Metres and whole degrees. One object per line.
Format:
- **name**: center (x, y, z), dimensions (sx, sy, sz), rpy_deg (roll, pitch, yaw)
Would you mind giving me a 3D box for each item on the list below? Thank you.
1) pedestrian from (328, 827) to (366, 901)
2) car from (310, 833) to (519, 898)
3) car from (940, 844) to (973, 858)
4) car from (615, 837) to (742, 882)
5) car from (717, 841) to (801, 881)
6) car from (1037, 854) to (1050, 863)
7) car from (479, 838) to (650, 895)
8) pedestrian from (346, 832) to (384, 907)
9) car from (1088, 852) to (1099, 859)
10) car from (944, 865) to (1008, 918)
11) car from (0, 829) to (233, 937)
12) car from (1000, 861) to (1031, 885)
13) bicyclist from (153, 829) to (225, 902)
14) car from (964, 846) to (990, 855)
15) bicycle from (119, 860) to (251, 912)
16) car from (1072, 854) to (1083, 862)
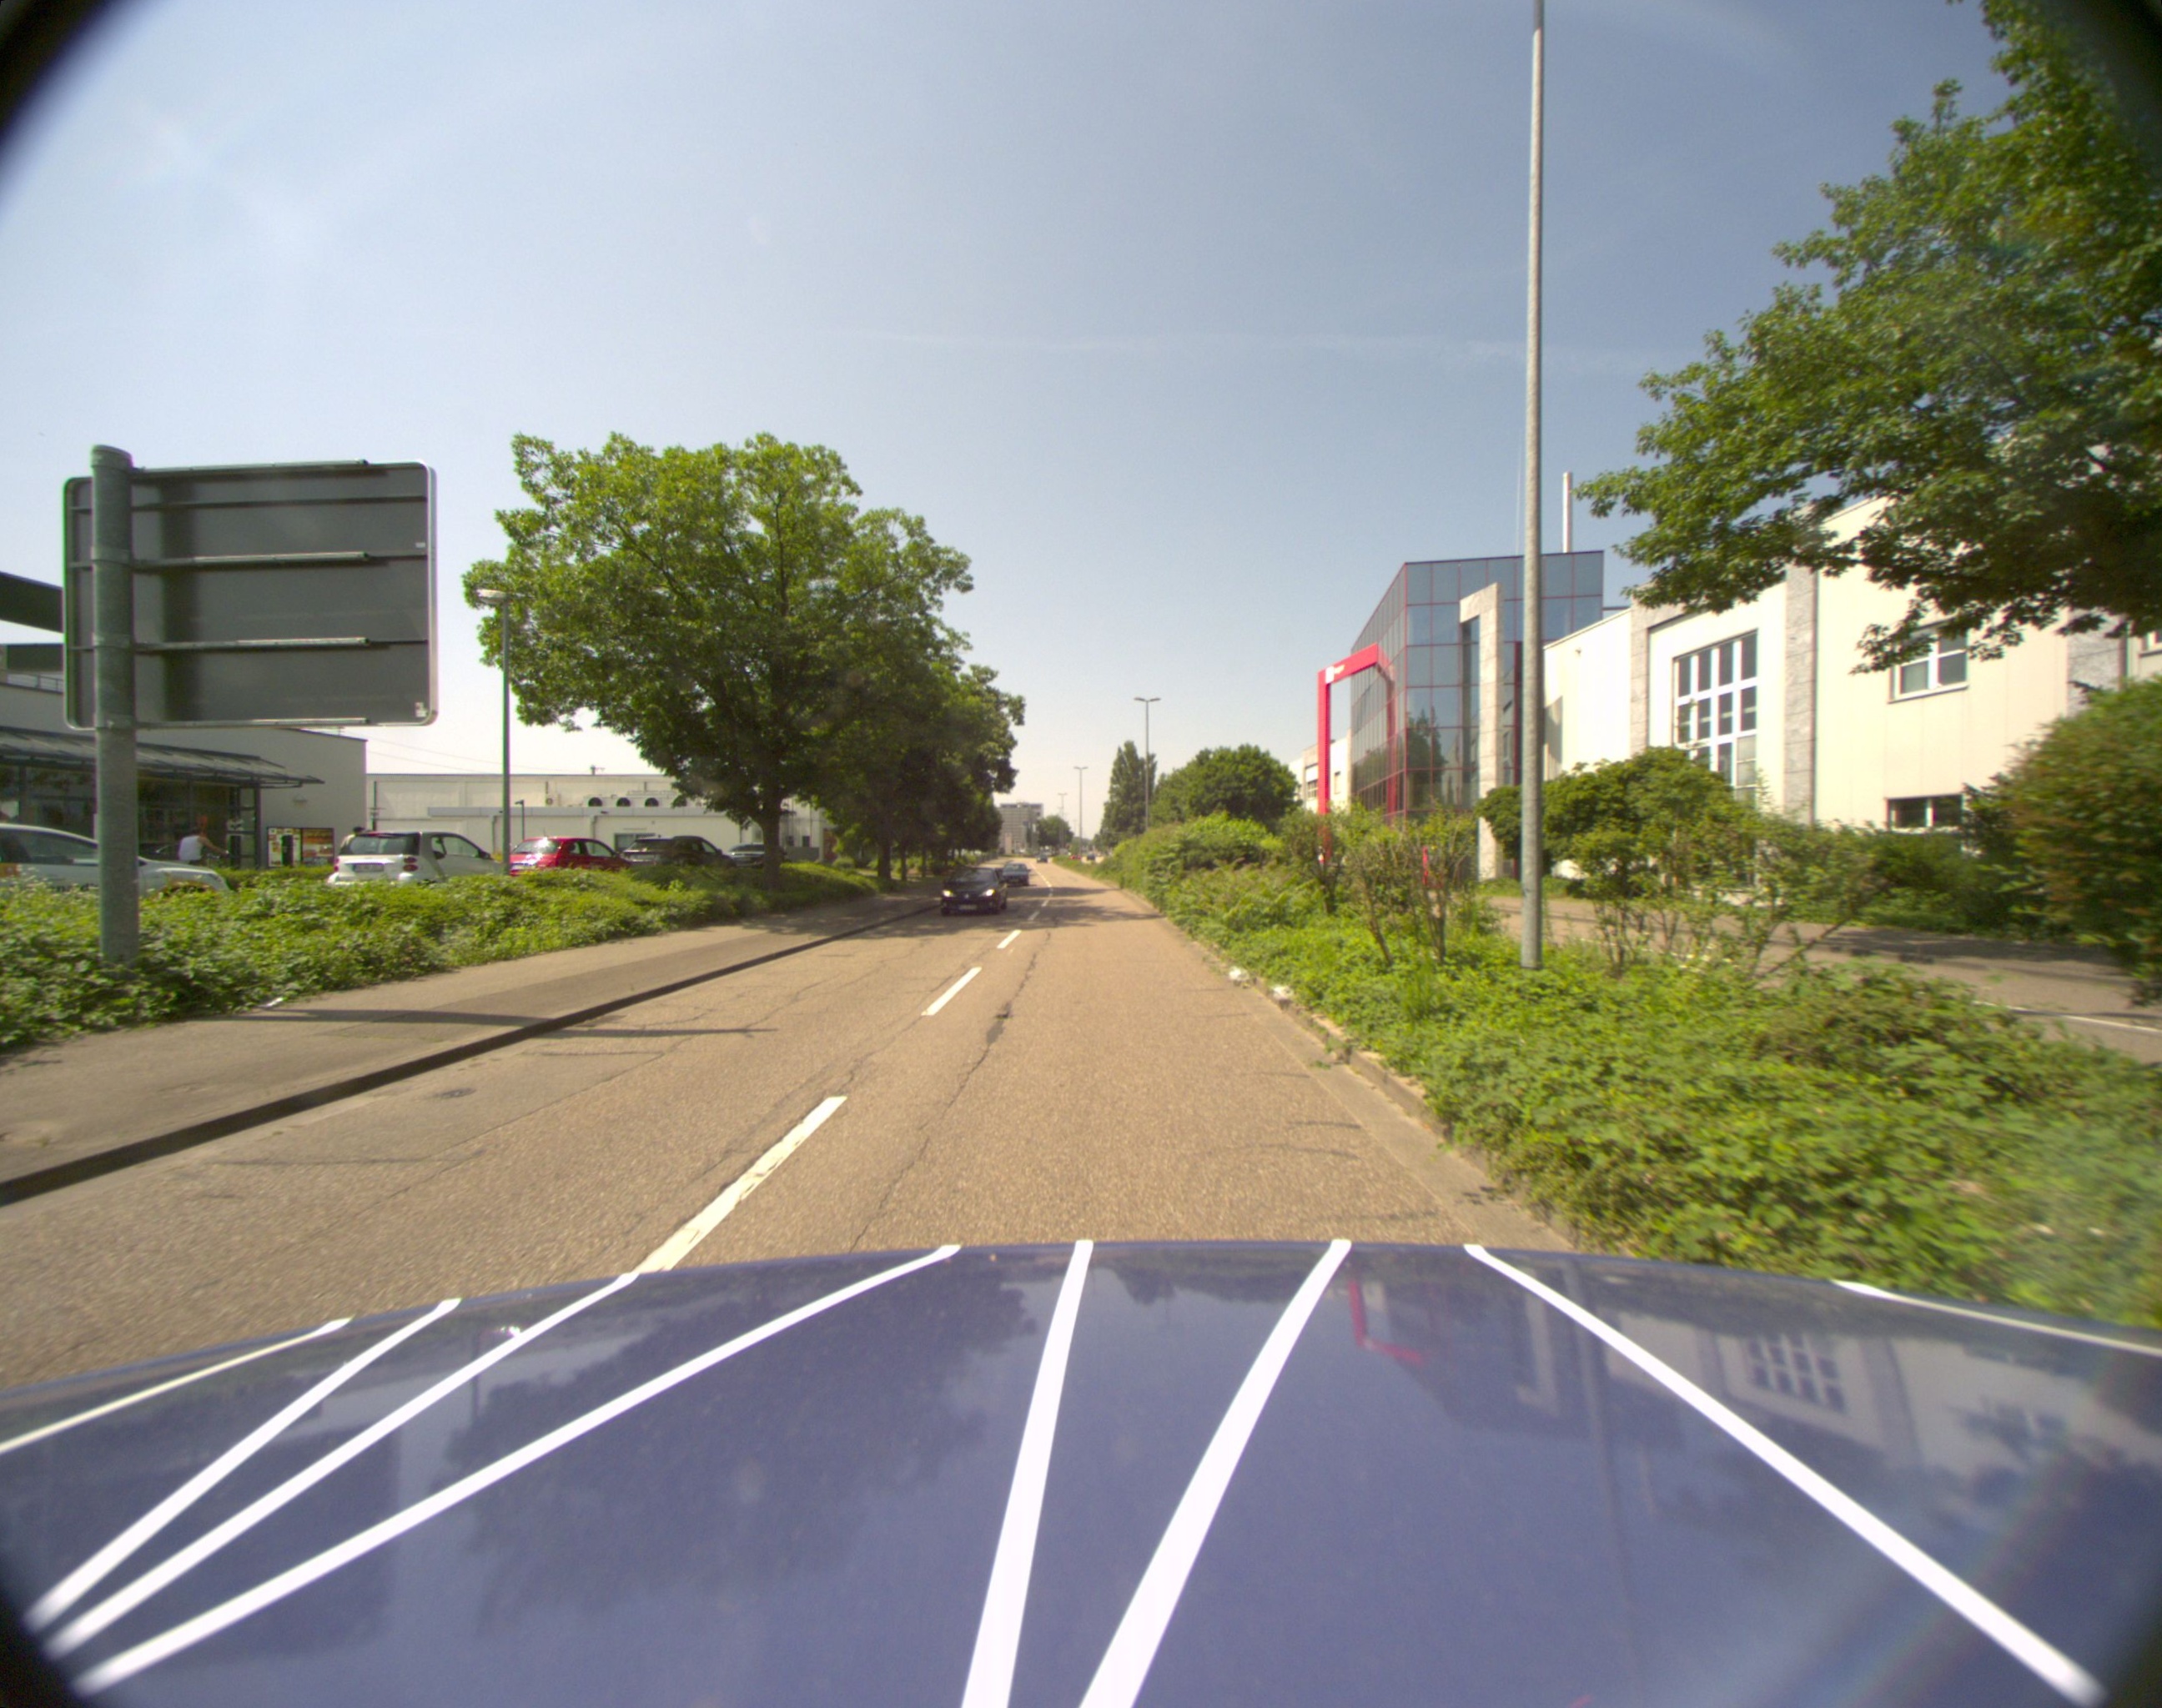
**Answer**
- **pedestrian**: center (-19.024, 0.252, 19.691), dimensions (0.583, 1.910, 0.409), rpy_deg (0, 1, 1)
- **car**: center (-12.770, 0.181, 14.781), dimensions (1.511, 1.116, 2.855), rpy_deg (-1, 1, 0)
- **car**: center (-18.088, -0.460, 110.706), dimensions (4.629, 1.913, 1.826), rpy_deg (0, 1, -3)
- **car**: center (-12.559, 0.125, 24.028), dimensions (1.623, 1.245, 4.199), rpy_deg (-3, 1, 2)
- **car**: center (-12.932, 0.216, 30.946), dimensions (1.912, 1.443, 5.595), rpy_deg (-1, 1, -10)
- **car**: center (-5.803, 0.651, 118.250), dimensions (1.868, 1.390, 3.999), rpy_deg (1, 0, -2)
- **car**: center (-12.607, 0.260, 18.860), dimensions (1.623, 1.245, 3.763), rpy_deg (-1, 1, 0)
- **pedestrian**: center (-18.533, 0.398, 19.683), dimensions (0.467, 1.910, 0.534), rpy_deg (0, 1, 1)
- **car**: center (2.407, 0.253, 150.659), dimensions (1.727, 1.408, 4.244), rpy_deg (2, 0, -4)
- **car**: center (-3.102, 1.078, 22.921), dimensions (1.641, 1.349, 3.498), rpy_deg (-1, 1, -4)
- **car**: center (-13.248, 0.349, 9.117), dimensions (1.622, 1.245, 3.867), rpy_deg (-1, 1, 5)
- **car**: center (-3.859, 1.103, 45.027), dimensions (1.712, 1.316, 3.954), rpy_deg (0, 0, -4)
- **bicyclist**: center (-22.389, 0.275, 19.090), dimensions (0.780, 1.794, 0.864), rpy_deg (0, 1, -1)
- **car**: center (-18.535, -0.623, 135.324), dimensions (4.589, 1.496, 1.697), rpy_deg (0, 1, -4)
- **bicycle**: center (-22.391, 0.761, 19.071), dimensions (0.692, 1.218, 2.243), rpy_deg (0, 0, -1)
- **car**: center (-0.639, 0.684, 138.539), dimensions (1.734, 1.316, 4.147), rpy_deg (1, 1, -4)
